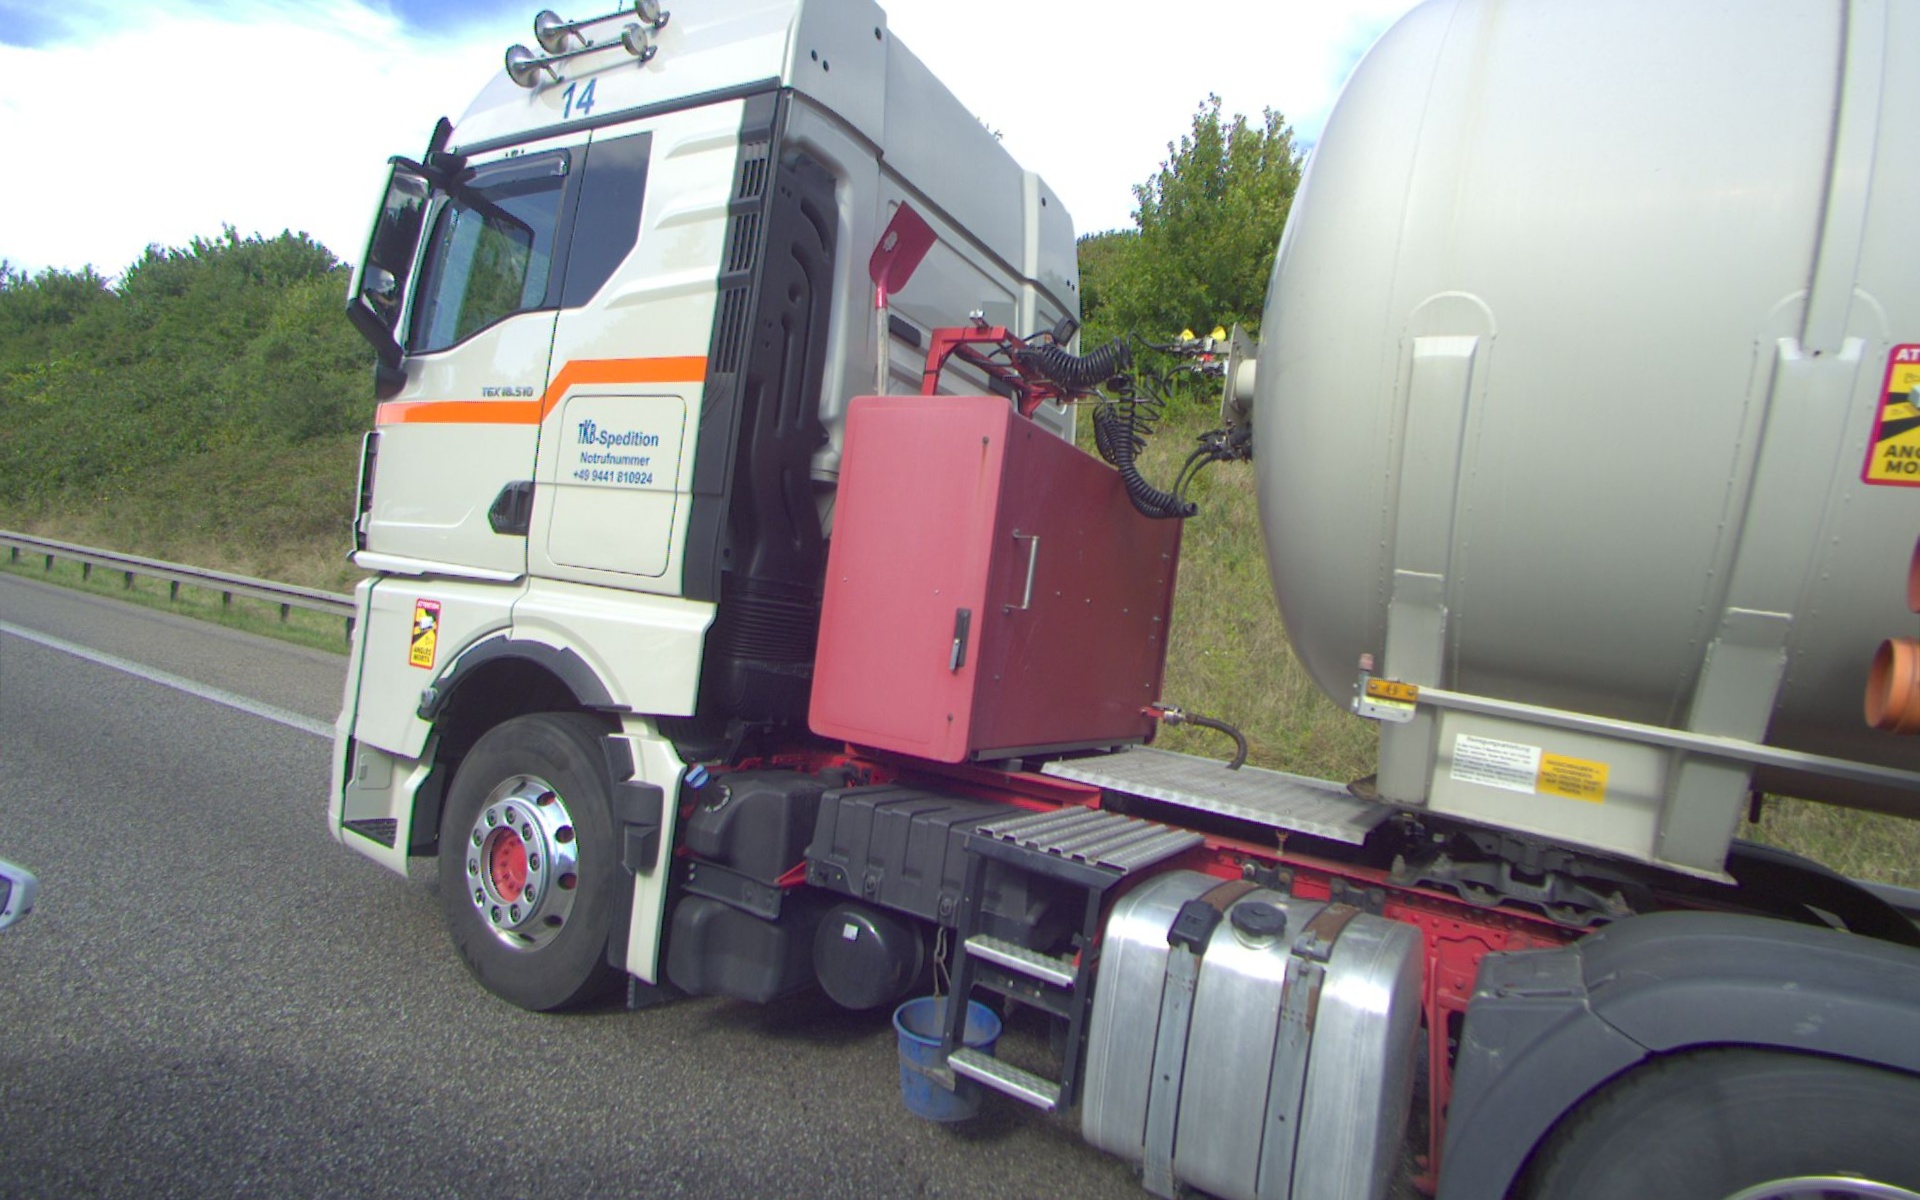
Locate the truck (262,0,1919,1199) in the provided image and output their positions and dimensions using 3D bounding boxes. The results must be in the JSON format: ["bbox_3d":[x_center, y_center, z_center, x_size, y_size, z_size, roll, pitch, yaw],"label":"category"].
[{"bbox_3d":[0.538,-0.440,3.772,5.807,4.092,2.807,7,-1,32],"label":"truck"}]

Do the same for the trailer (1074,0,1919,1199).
[{"bbox_3d":[5.797,0.189,0.413,10.998,4.074,2.802,7,-1,32],"label":"trailer"}]
